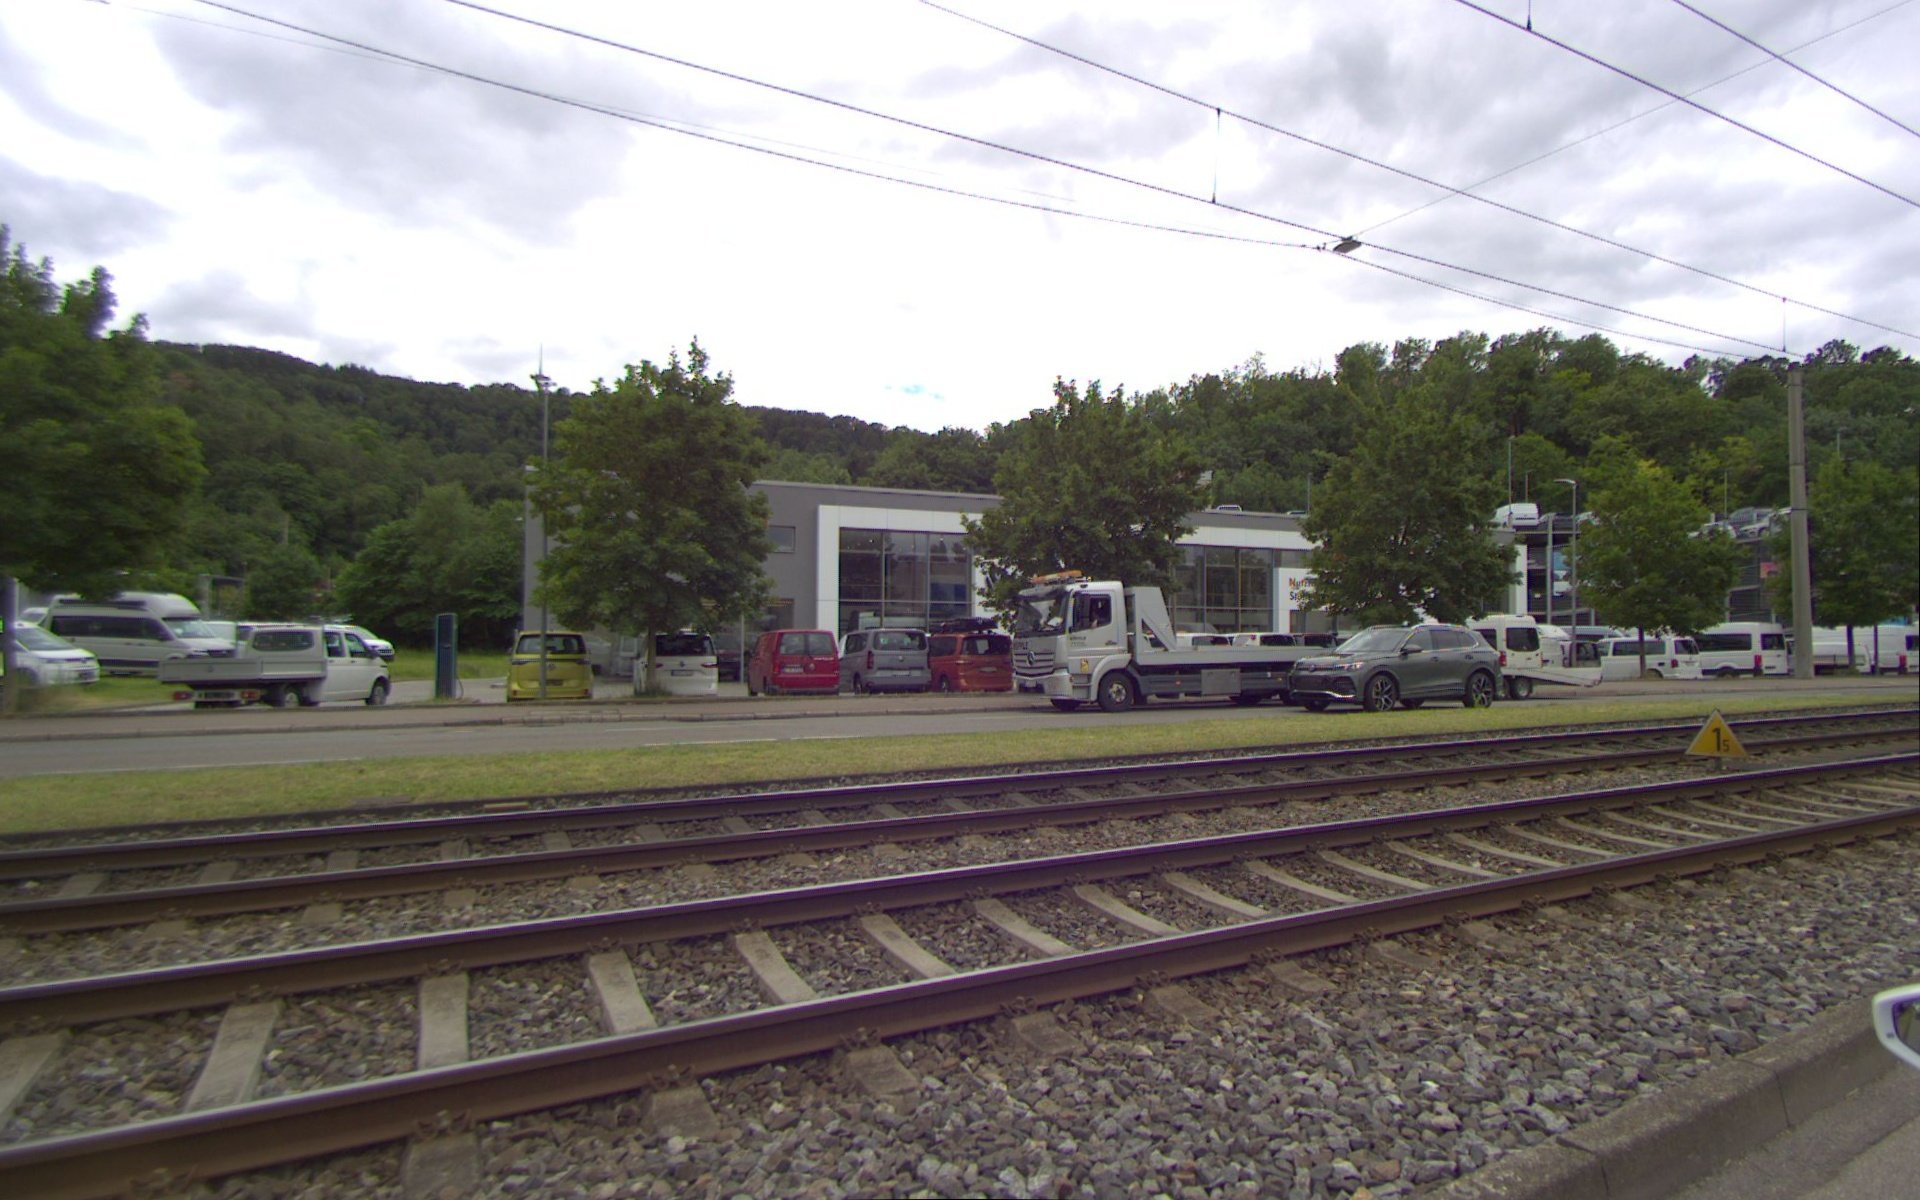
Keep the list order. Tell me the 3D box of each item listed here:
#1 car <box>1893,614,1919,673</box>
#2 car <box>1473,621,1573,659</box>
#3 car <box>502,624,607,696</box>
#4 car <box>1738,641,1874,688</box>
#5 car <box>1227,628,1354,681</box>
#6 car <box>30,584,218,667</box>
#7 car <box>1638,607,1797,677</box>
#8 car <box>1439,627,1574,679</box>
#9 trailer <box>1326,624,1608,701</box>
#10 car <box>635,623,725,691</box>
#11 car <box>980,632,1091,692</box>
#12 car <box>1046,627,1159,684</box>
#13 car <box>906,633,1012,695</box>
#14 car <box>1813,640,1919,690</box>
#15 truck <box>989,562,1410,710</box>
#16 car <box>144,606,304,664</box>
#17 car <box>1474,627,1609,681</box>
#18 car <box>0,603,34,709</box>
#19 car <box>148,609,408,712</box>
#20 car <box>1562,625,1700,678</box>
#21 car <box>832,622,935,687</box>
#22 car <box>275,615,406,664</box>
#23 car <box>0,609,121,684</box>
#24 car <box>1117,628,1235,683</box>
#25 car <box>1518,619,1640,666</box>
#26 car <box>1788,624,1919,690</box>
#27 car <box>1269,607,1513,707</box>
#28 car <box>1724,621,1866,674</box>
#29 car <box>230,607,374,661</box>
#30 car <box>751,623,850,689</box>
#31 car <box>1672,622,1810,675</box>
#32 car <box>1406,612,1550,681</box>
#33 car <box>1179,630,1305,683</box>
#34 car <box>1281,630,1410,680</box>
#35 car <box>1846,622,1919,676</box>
[{"bbox_3d":[52.047,2.287,52.623,5.843,3.059,2.106,1,-2,-19],"label":"car"},{"bbox_3d":[31.464,2.236,56.304,1.968,2.040,4.841,1,-2,-18],"label":"car"},{"bbox_3d":[-10.097,1.447,25.329,2.120,1.639,4.334,1,-2,-18],"label":"car"},{"bbox_3d":[38.457,2.896,45.802,1.976,1.936,4.355,1,-2,-23],"label":"car"},{"bbox_3d":[11.330,1.839,34.738,1.973,1.708,4.362,1,-2,-19],"label":"car"},{"bbox_3d":[-29.045,0.908,35.014,4.765,2.741,2.000,1,-2,-1],"label":"car"},{"bbox_3d":[31.557,1.728,42.058,2.085,2.734,4.954,1,-2,-23],"label":"car"},{"bbox_3d":[20.660,1.954,38.200,1.973,1.869,4.362,1,-2,-19],"label":"car"},{"bbox_3d":[12.628,1.559,24.959,6.848,1.720,2.378,1,-4,-23],"label":"trailer"},{"bbox_3d":[-7.474,1.439,26.533,2.087,1.639,4.342,1,-2,-18],"label":"car"},{"bbox_3d":[2.197,1.821,30.331,1.969,1.639,3.984,1,-2,-18],"label":"car"},{"bbox_3d":[4.352,1.677,31.299,1.969,1.639,3.984,1,-2,-18],"label":"car"},{"bbox_3d":[-0.117,1.815,29.290,1.969,1.639,3.984,1,-2,-18],"label":"car"},{"bbox_3d":[42.882,2.981,46.835,1.976,2.133,4.355,1,-2,-23],"label":"car"},{"bbox_3d":[5.307,0.841,21.869,9.088,2.777,2.751,1,-4,-23],"label":"truck"},{"bbox_3d":[-28.606,1.352,39.137,4.763,2.156,2.001,1,-2,2],"label":"car"},{"bbox_3d":[22.572,2.045,39.205,1.973,1.973,4.362,1,-2,-19],"label":"car"},{"bbox_3d":[-20.858,1.037,18.757,4.796,2.040,1.987,2,-2,-26],"label":"car"},{"bbox_3d":[-15.098,1.314,22.795,2.102,2.034,5.714,0,-2,-2],"label":"car"},{"bbox_3d":[27.417,2.045,41.201,1.976,2.037,4.355,1,-2,-23],"label":"car"},{"bbox_3d":[-2.259,1.493,28.560,2.016,1.686,3.984,1,-2,-18],"label":"car"},{"bbox_3d":[-28.325,1.798,46.018,4.763,2.156,2.001,1,-2,2],"label":"car"},{"bbox_3d":[-27.305,1.282,28.536,5.035,2.040,1.999,1,-2,-4],"label":"car"},{"bbox_3d":[6.832,1.714,32.159,1.969,1.639,3.984,1,-2,-18],"label":"car"},{"bbox_3d":[36.320,2.450,59.046,5.866,2.636,1.994,-1,-2,41],"label":"car"},{"bbox_3d":[40.920,2.542,45.878,1.976,2.856,4.355,1,-2,-23],"label":"car"},{"bbox_3d":[8.447,1.142,19.655,4.475,1.762,1.987,2,-4,-27],"label":"car"},{"bbox_3d":[36.290,2.018,43.810,1.976,2.201,4.355,1,-2,-23],"label":"car"},{"bbox_3d":[-27.788,1.448,42.544,4.763,2.156,2.001,1,-2,2],"label":"car"},{"bbox_3d":[-4.405,1.465,27.239,2.030,1.639,4.175,1,-2,-18],"label":"car"},{"bbox_3d":[33.973,2.072,43.813,1.976,2.201,4.355,1,-2,-23],"label":"car"},{"bbox_3d":[18.731,1.654,36.547,2.092,2.342,4.493,1,-2,-19],"label":"car"},{"bbox_3d":[9.252,1.824,33.368,1.973,1.639,4.363,1,-2,-18],"label":"car"},{"bbox_3d":[13.574,1.905,35.658,1.973,1.639,4.362,1,-2,-19],"label":"car"},{"bbox_3d":[47.698,2.414,49.667,2.212,2.636,5.467,1,-2,-20],"label":"car"}]
